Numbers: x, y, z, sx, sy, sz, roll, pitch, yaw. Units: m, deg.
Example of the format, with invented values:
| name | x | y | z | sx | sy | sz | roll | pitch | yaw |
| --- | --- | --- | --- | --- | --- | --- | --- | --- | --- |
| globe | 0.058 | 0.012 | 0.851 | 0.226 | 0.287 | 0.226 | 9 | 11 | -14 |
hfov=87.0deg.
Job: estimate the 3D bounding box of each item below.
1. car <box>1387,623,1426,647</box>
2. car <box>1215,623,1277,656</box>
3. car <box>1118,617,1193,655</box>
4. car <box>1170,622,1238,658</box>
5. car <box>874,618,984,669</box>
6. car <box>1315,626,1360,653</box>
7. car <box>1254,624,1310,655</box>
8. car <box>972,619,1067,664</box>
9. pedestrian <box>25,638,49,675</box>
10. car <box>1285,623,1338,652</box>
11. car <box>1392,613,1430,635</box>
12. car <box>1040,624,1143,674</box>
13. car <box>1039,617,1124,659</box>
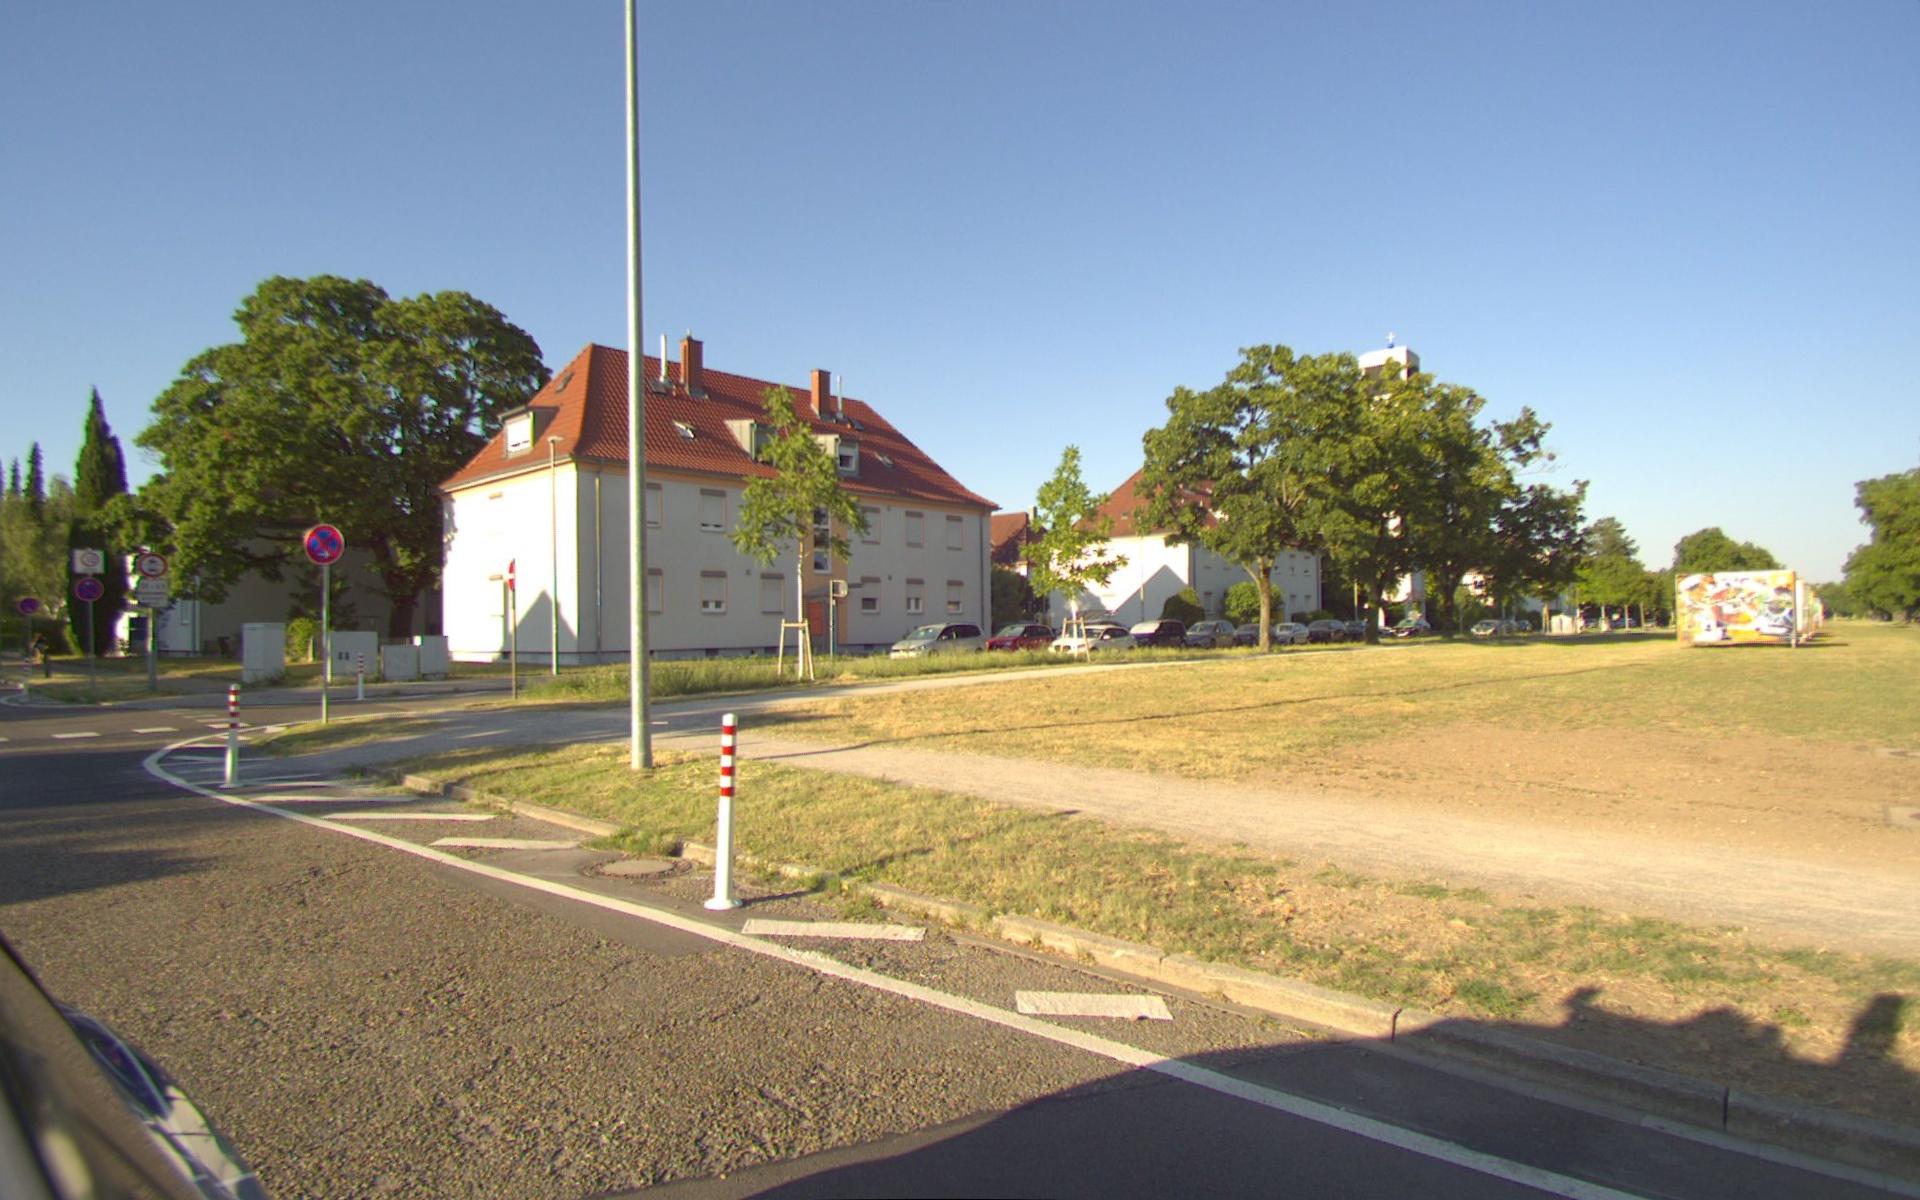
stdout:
| name | x | y | z | sx | sy | sz | roll | pitch | yaw |
| --- | --- | --- | --- | --- | --- | --- | --- | --- | --- |
| car | 33.940 | 2.608 | 76.898 | 1.806 | 1.730 | 3.299 | -1 | -1 | 41 |
| car | 16.150 | 2.228 | 57.119 | 1.849 | 1.708 | 3.947 | -5 | -4 | 40 |
| car | 9.592 | 1.754 | 49.459 | 1.849 | 1.708 | 3.947 | -5 | -4 | 40 |
| car | 12.828 | 2.086 | 53.115 | 1.849 | 1.708 | 3.947 | -5 | -4 | 40 |
| car | -1.098 | 1.557 | 37.087 | 1.849 | 1.708 | 3.947 | -5 | -4 | 40 |
| car | 25.566 | 2.644 | 68.465 | 1.806 | 1.730 | 3.299 | -1 | -1 | 41 |
| car | 19.475 | 2.363 | 61.113 | 1.849 | 1.708 | 3.947 | -5 | -4 | 40 |
| car | 2.487 | 1.676 | 41.379 | 1.849 | 1.708 | 3.947 | -5 | -4 | 40 |
| pedestrian | -51.823 | 3.177 | 56.825 | 0.692 | 2.029 | 0.887 | -3 | -2 | 40 |
| car | 22.541 | 2.411 | 64.866 | 1.849 | 1.708 | 3.947 | -5 | -4 | 40 |
| car | 38.229 | 2.035 | 85.715 | 1.849 | 1.708 | 3.947 | -5 | -4 | 40 |
| car | 5.094 | 1.849 | 38.733 | 1.869 | 1.708 | 4.243 | -5 | -4 | 40 |
| car | 5.412 | 1.653 | 44.691 | 1.849 | 1.708 | 3.947 | -5 | -4 | 40 |
